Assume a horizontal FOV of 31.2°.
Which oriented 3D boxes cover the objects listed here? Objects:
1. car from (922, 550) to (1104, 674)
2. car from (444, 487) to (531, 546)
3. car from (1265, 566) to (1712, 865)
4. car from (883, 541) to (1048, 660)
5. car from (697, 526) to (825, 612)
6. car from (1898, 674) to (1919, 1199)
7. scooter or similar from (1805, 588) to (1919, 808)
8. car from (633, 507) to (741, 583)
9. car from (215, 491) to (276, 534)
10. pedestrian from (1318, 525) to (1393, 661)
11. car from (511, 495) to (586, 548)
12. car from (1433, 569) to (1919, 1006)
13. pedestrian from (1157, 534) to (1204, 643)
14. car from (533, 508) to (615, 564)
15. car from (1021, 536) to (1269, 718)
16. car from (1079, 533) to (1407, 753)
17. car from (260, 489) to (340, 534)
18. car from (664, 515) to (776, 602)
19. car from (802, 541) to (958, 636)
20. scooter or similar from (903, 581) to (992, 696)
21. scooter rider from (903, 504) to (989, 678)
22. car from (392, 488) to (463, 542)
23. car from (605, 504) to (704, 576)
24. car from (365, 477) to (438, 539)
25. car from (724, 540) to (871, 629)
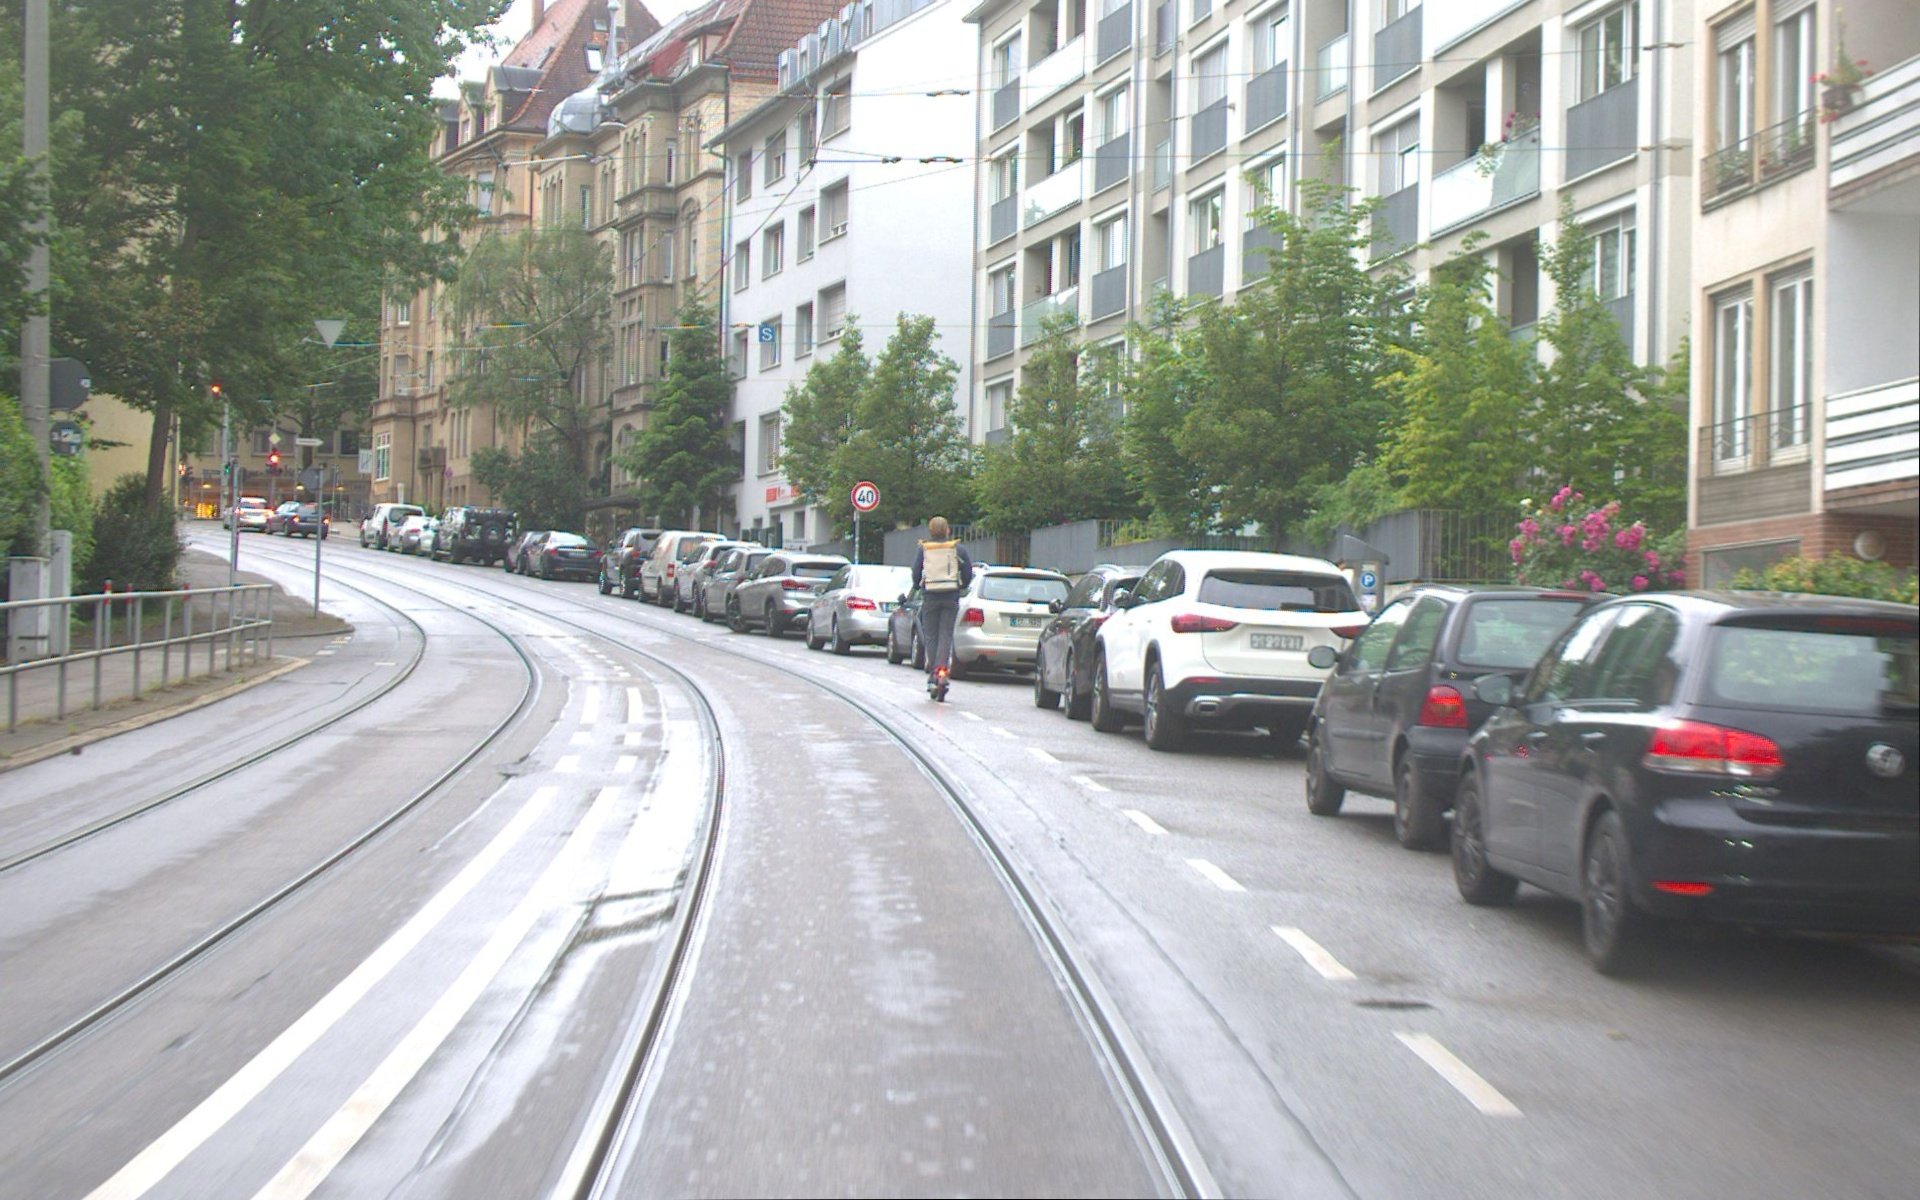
[{"bbox_3d":[0.632,0.124,44.813,1.661,1.466,4.509,3,0,-8],"label":"car"},{"bbox_3d":[-15.847,-2.811,115.161,2.027,1.818,4.369,2,1,-19],"label":"car"},{"bbox_3d":[2.938,0.580,19.987,1.556,1.432,4.304,2,1,-5],"label":"car"},{"bbox_3d":[0.040,-0.024,49.304,1.701,1.507,3.715,3,1,-9],"label":"car"},{"bbox_3d":[-4.216,-0.682,72.143,1.766,1.609,4.250,2,1,-15],"label":"car"},{"bbox_3d":[3.122,0.798,6.254,1.722,1.432,3.841,2,1,0],"label":"car"},{"bbox_3d":[5.607,0.568,20.621,0.468,1.230,1.200,-2,3,-19],"label":"scooter or similar"},{"bbox_3d":[-6.655,-1.350,83.427,1.766,1.678,4.250,2,1,-16],"label":"car"},{"bbox_3d":[-31.028,-3.816,149.149,1.856,1.728,4.141,2,1,-22],"label":"car"},{"bbox_3d":[4.594,-0.091,39.987,0.569,1.537,0.930,-1,2,-13],"label":"pedestrian"},{"bbox_3d":[-12.743,-2.448,106.256,1.649,1.530,3.891,-1,3,-16],"label":"car"},{"bbox_3d":[3.174,0.652,14.065,1.683,1.432,4.065,2,1,-3],"label":"car"},{"bbox_3d":[3.154,-0.165,49.202,0.569,1.537,0.651,-1,2,-5],"label":"pedestrian"},{"bbox_3d":[-11.399,-1.907,101.443,1.766,1.512,4.141,2,1,-15],"label":"car"},{"bbox_3d":[1.738,0.209,33.768,1.701,1.507,4.572,4,1,-5],"label":"car"},{"bbox_3d":[2.264,0.296,28.675,1.837,1.567,4.249,3,1,-7],"label":"car"},{"bbox_3d":[-27.699,-3.718,144.143,2.027,1.728,4.140,2,2,-29],"label":"car"},{"bbox_3d":[-5.434,-0.954,77.376,1.766,1.781,4.250,3,1,-13],"label":"car"},{"bbox_3d":[-1.365,-0.216,56.484,1.761,1.430,4.641,1,1,-11],"label":"car"},{"bbox_3d":[-0.136,0.377,34.915,0.513,1.046,2.009,4,1,-10],"label":"scooter or similar"},{"bbox_3d":[-0.145,-0.103,34.832,0.623,1.700,0.844,4,1,-10],"label":"scooter rider"},{"bbox_3d":[-19.561,-3.124,126.176,2.027,1.818,4.141,2,1,-16],"label":"car"},{"bbox_3d":[-7.841,-1.555,87.986,1.766,1.678,4.250,2,1,-15],"label":"car"},{"bbox_3d":[-21.275,-3.510,130.883,2.027,2.210,4.141,2,1,-18],"label":"car"},{"bbox_3d":[-3.156,-0.320,66.033,1.766,1.610,4.250,1,1,-18],"label":"car"}]
